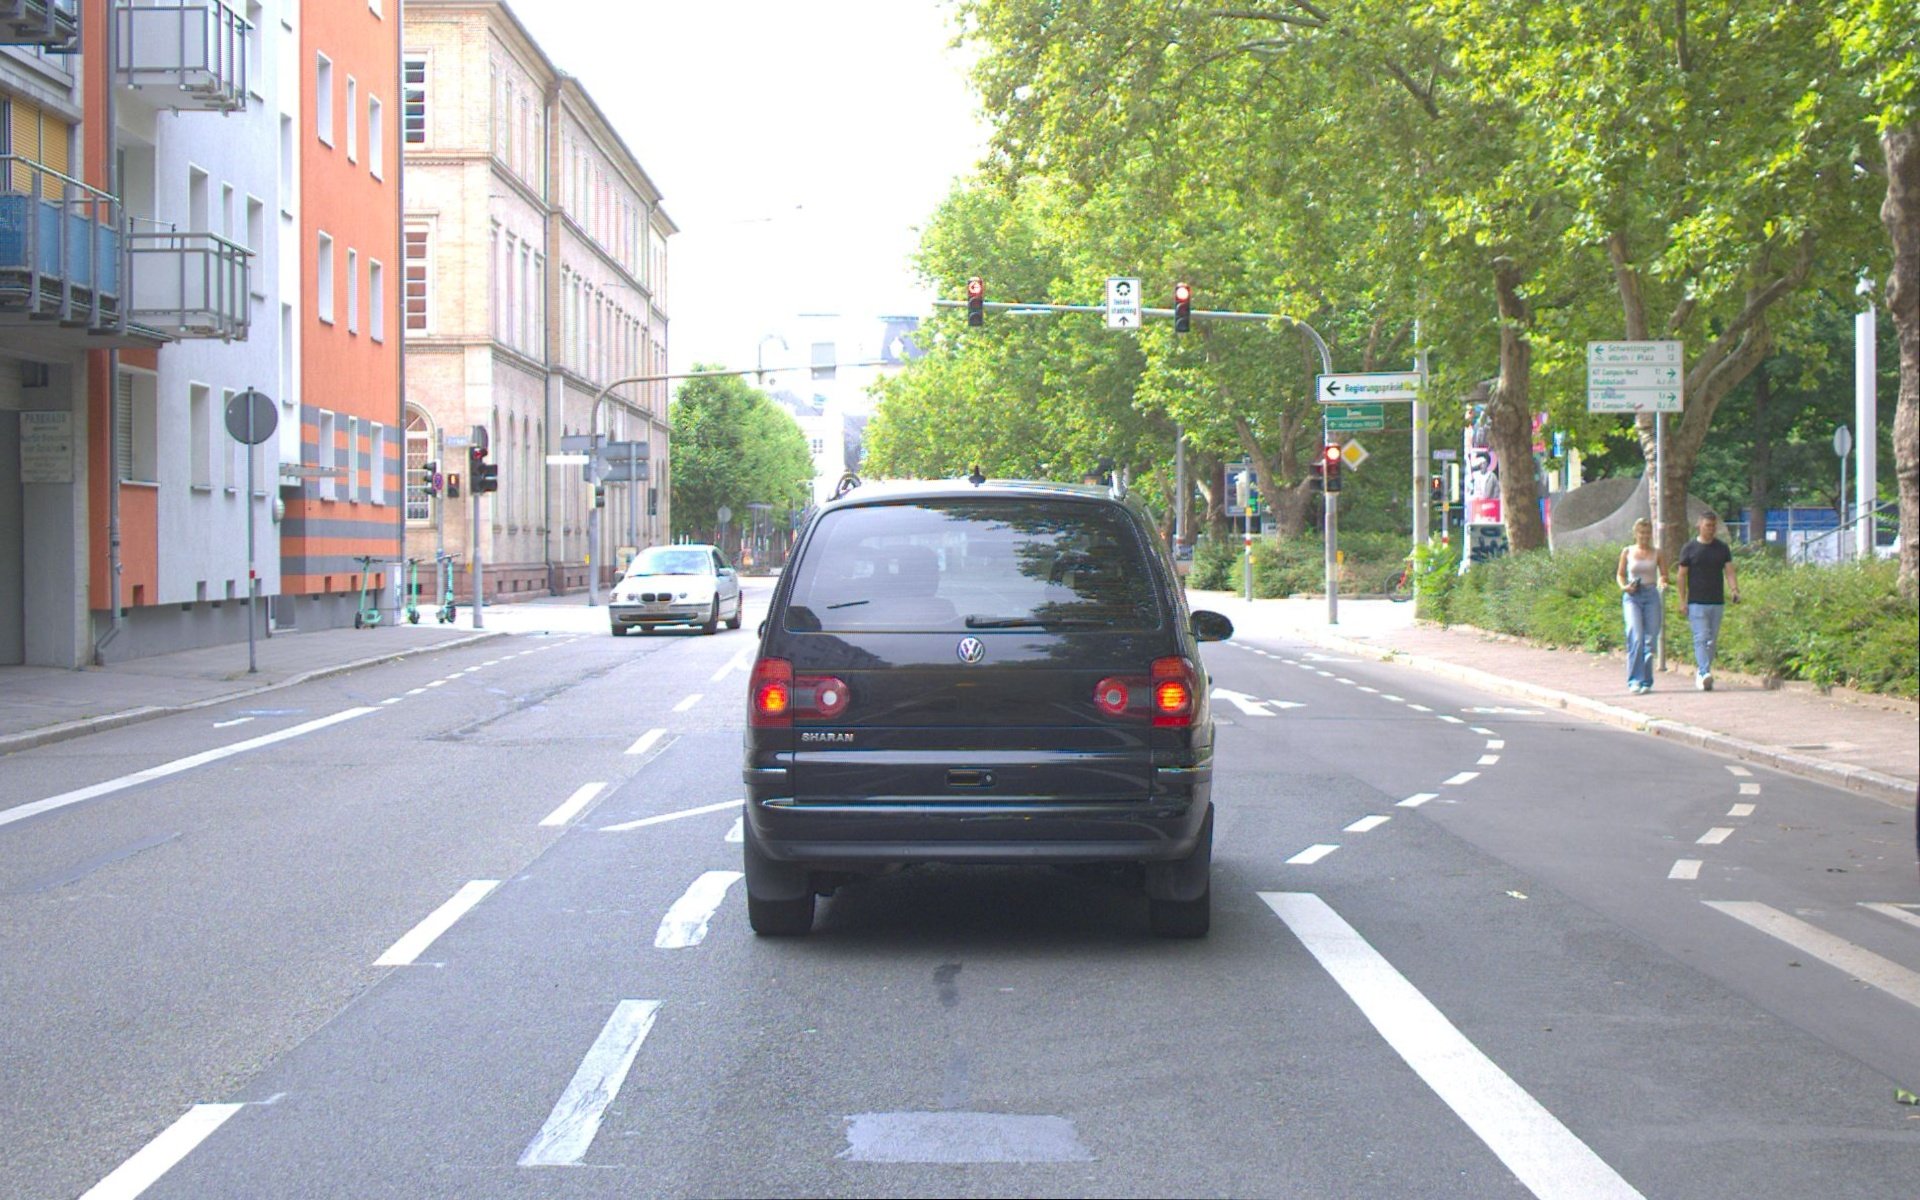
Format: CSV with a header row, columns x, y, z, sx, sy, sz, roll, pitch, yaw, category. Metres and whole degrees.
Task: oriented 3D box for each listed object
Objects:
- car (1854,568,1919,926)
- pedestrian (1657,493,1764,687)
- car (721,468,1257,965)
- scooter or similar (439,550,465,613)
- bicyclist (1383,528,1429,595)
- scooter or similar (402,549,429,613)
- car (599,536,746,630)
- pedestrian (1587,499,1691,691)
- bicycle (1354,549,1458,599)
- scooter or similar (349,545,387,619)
x,y,z,sx,sy,sz,roll,pitch,yaw,category
4.768,0.639,12.389,1.697,1.420,4.423,1,1,-3,car
7.139,-0.103,32.748,0.715,1.794,1.034,-2,1,-2,pedestrian
0.054,0.359,14.332,1.874,1.739,4.574,0,1,-1,car
-9.192,-0.329,62.198,0.378,1.140,1.142,0,0,-4,scooter or similar
9.969,-0.873,76.889,0.914,1.488,0.626,0,1,-4,bicyclist
-9.786,-0.331,61.771,0.378,1.143,1.142,0,0,-4,scooter or similar
-4.683,-0.302,56.476,1.757,1.422,4.098,-1,1,4,car
6.476,-0.055,32.833,0.710,1.777,1.034,-2,1,-2,pedestrian
9.969,-0.584,76.900,2.233,1.090,0.627,0,1,-5,bicycle
-9.562,-0.282,55.555,0.378,1.179,1.390,0,0,-1,scooter or similar
